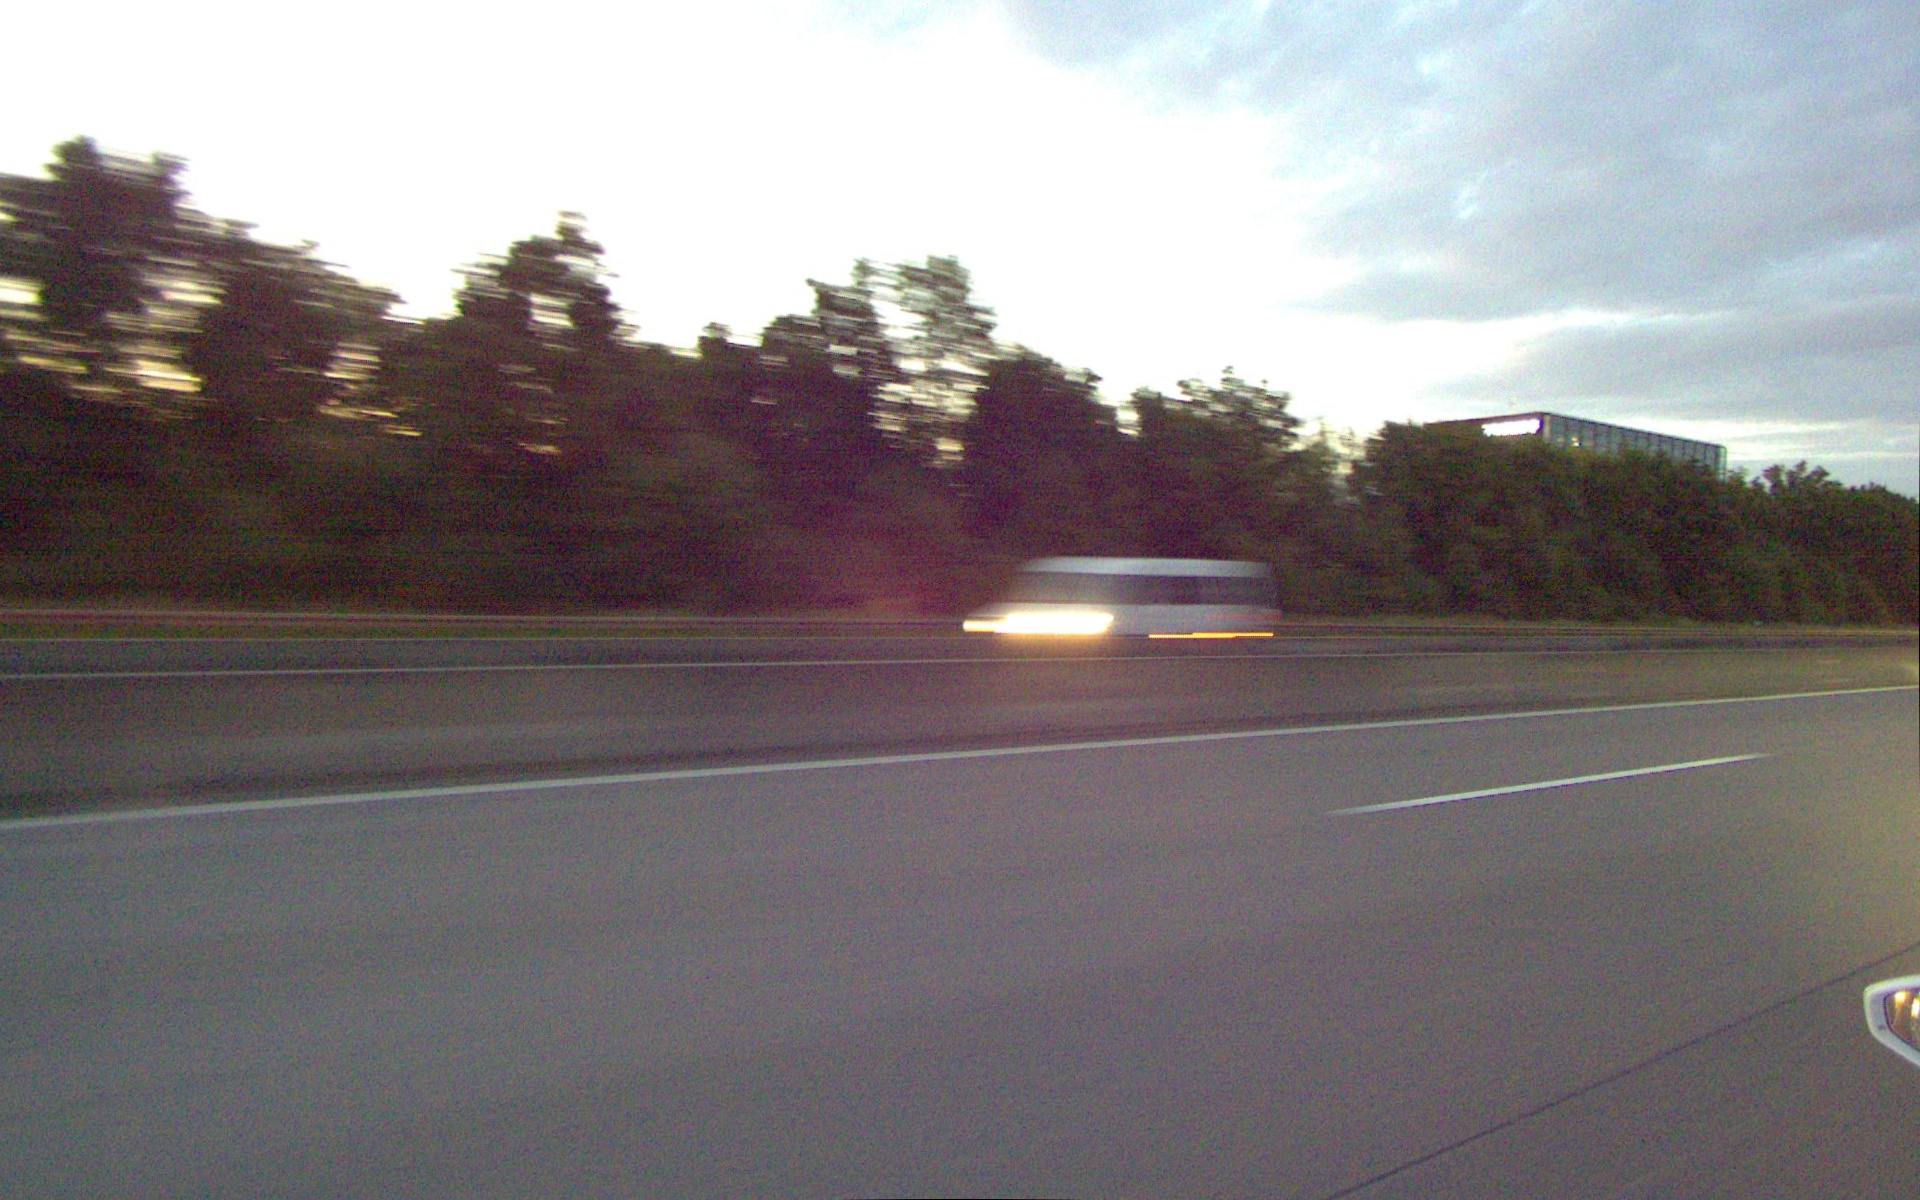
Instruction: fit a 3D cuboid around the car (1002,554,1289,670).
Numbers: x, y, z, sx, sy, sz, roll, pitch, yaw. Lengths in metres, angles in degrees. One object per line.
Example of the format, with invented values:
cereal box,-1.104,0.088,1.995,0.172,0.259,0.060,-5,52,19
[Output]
car,4.590,0.342,24.268,7.012,2.464,2.314,2,0,-30
